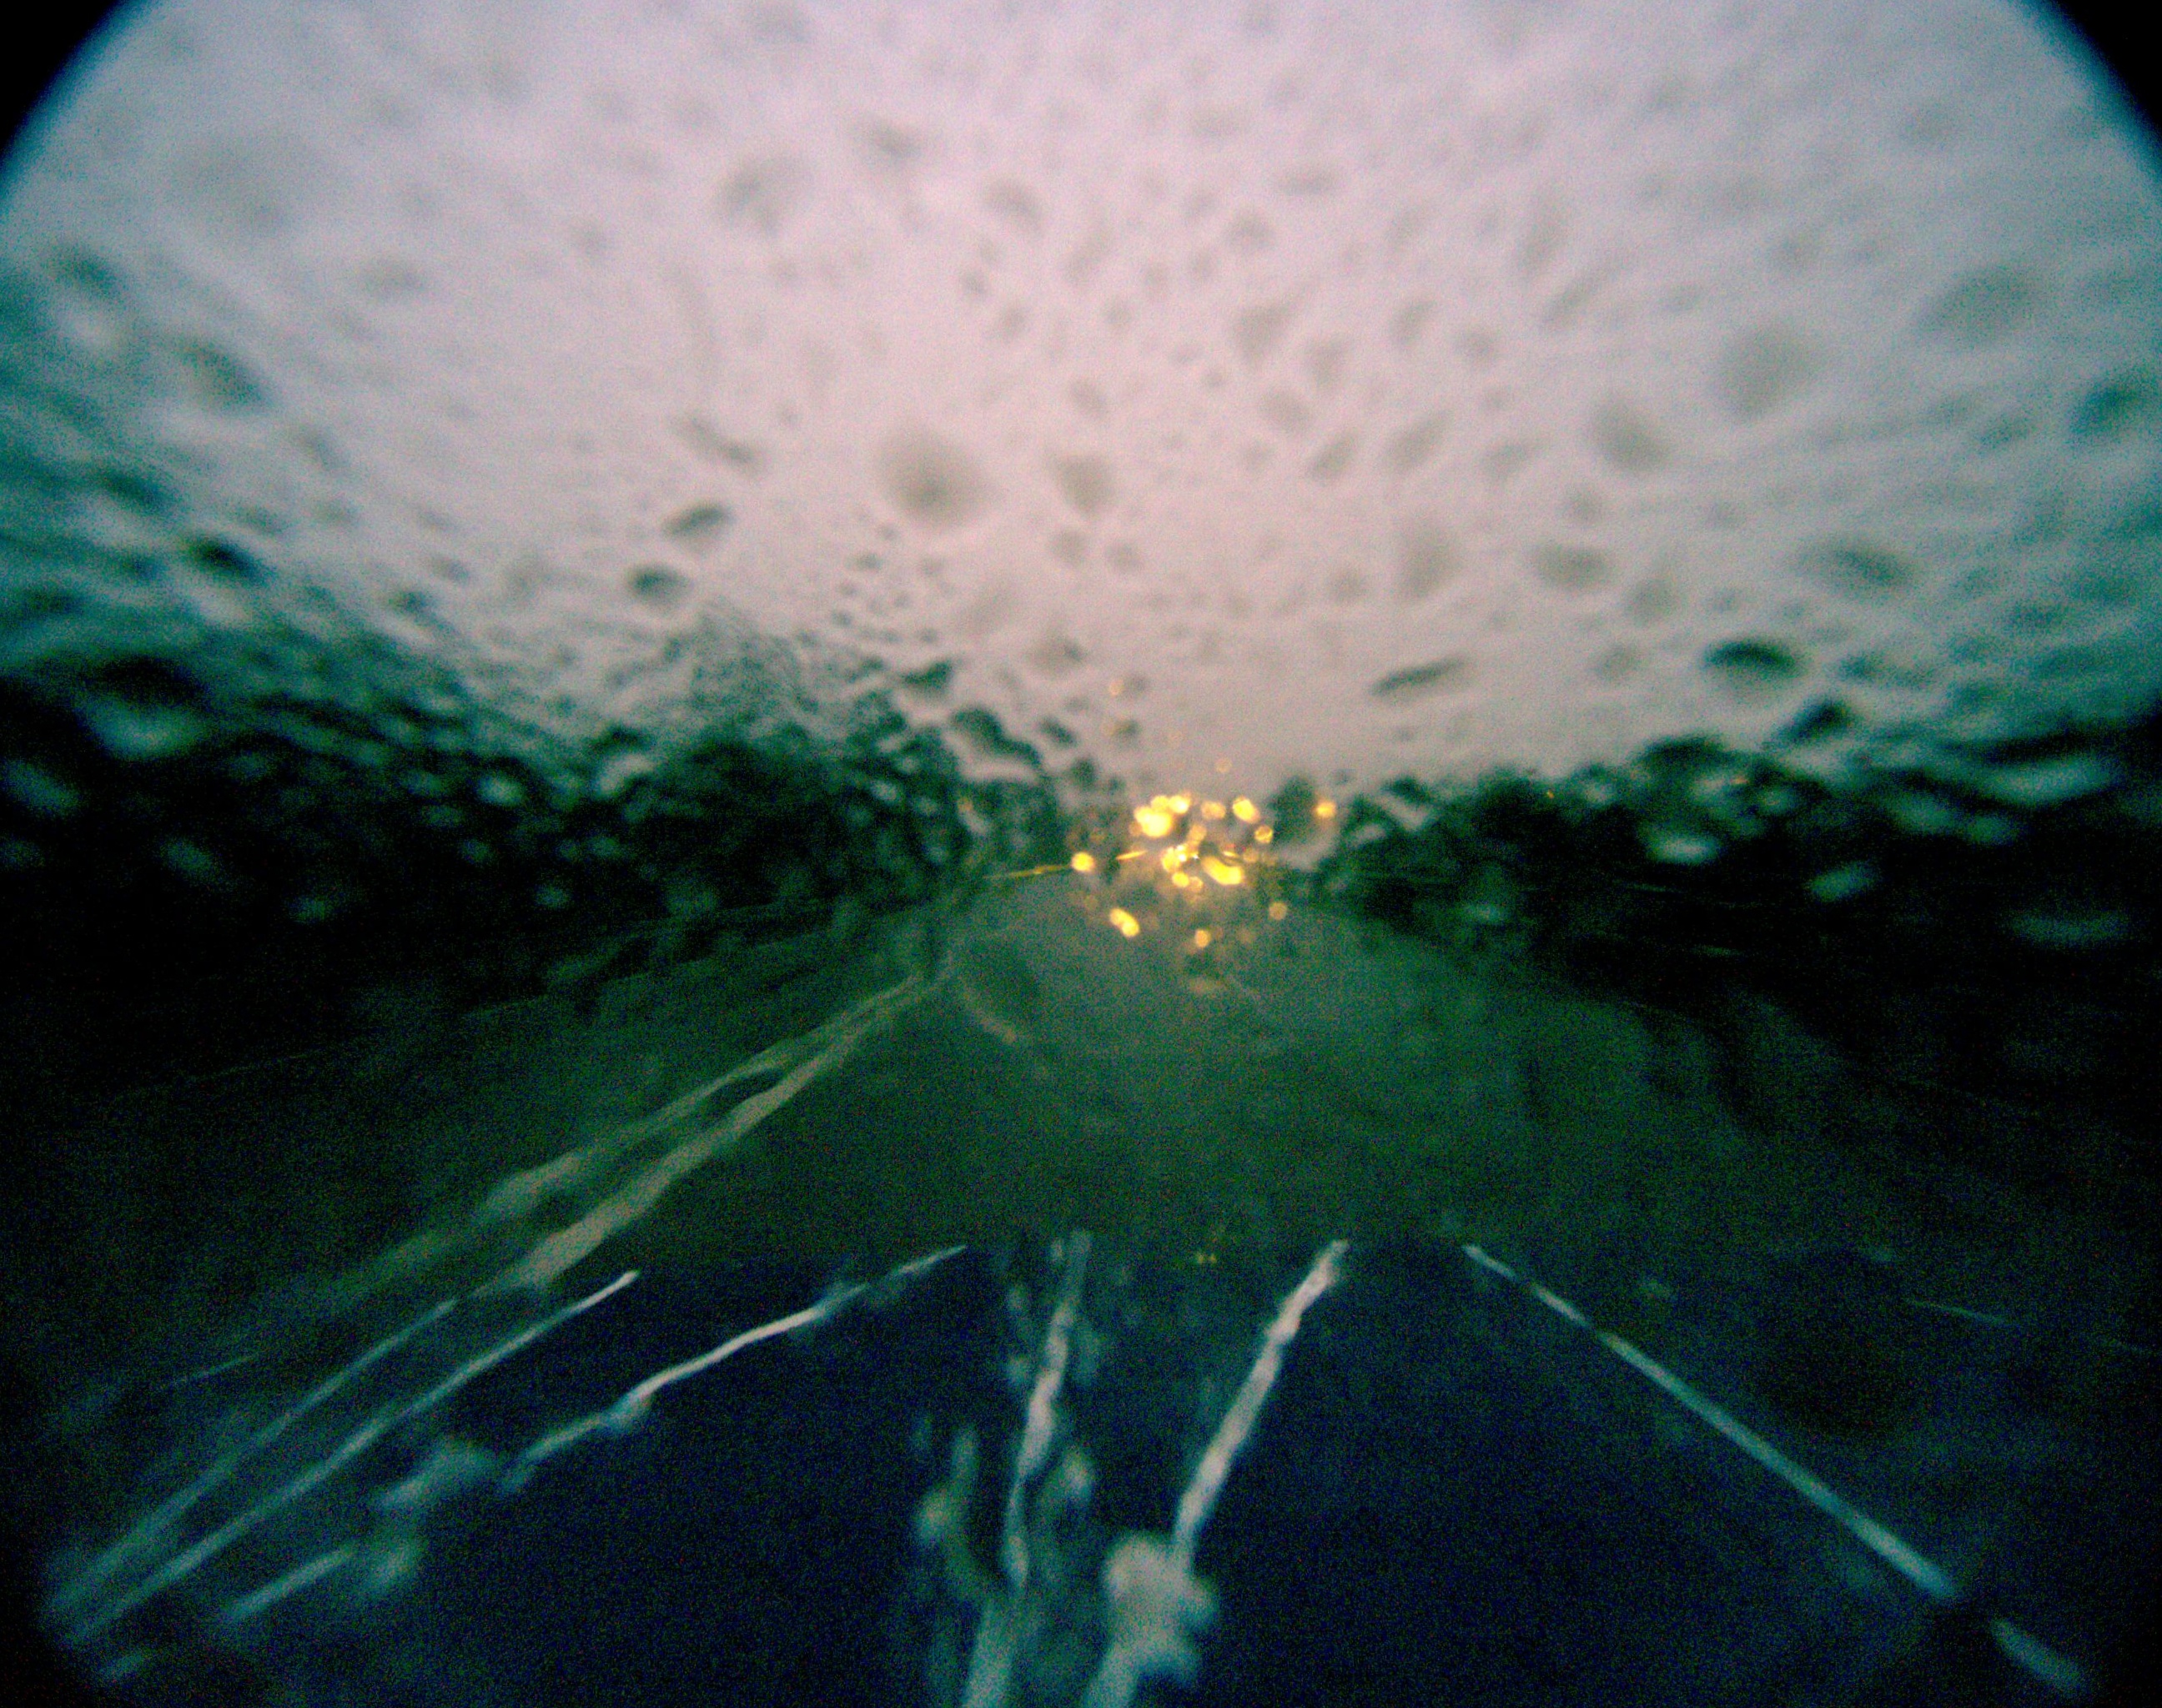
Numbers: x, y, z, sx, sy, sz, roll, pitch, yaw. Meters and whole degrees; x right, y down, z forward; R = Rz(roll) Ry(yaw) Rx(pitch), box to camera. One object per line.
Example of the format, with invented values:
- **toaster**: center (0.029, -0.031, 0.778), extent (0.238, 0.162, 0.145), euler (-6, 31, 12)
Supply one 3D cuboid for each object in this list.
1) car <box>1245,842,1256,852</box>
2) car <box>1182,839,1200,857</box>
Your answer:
- **car**: center (30.814, -1.269, 137.989), extent (1.766, 1.617, 4.530), euler (-1, 1, 10)
- **car**: center (13.499, -0.709, 93.595), extent (1.998, 2.002, 4.001), euler (-5, 1, 7)
